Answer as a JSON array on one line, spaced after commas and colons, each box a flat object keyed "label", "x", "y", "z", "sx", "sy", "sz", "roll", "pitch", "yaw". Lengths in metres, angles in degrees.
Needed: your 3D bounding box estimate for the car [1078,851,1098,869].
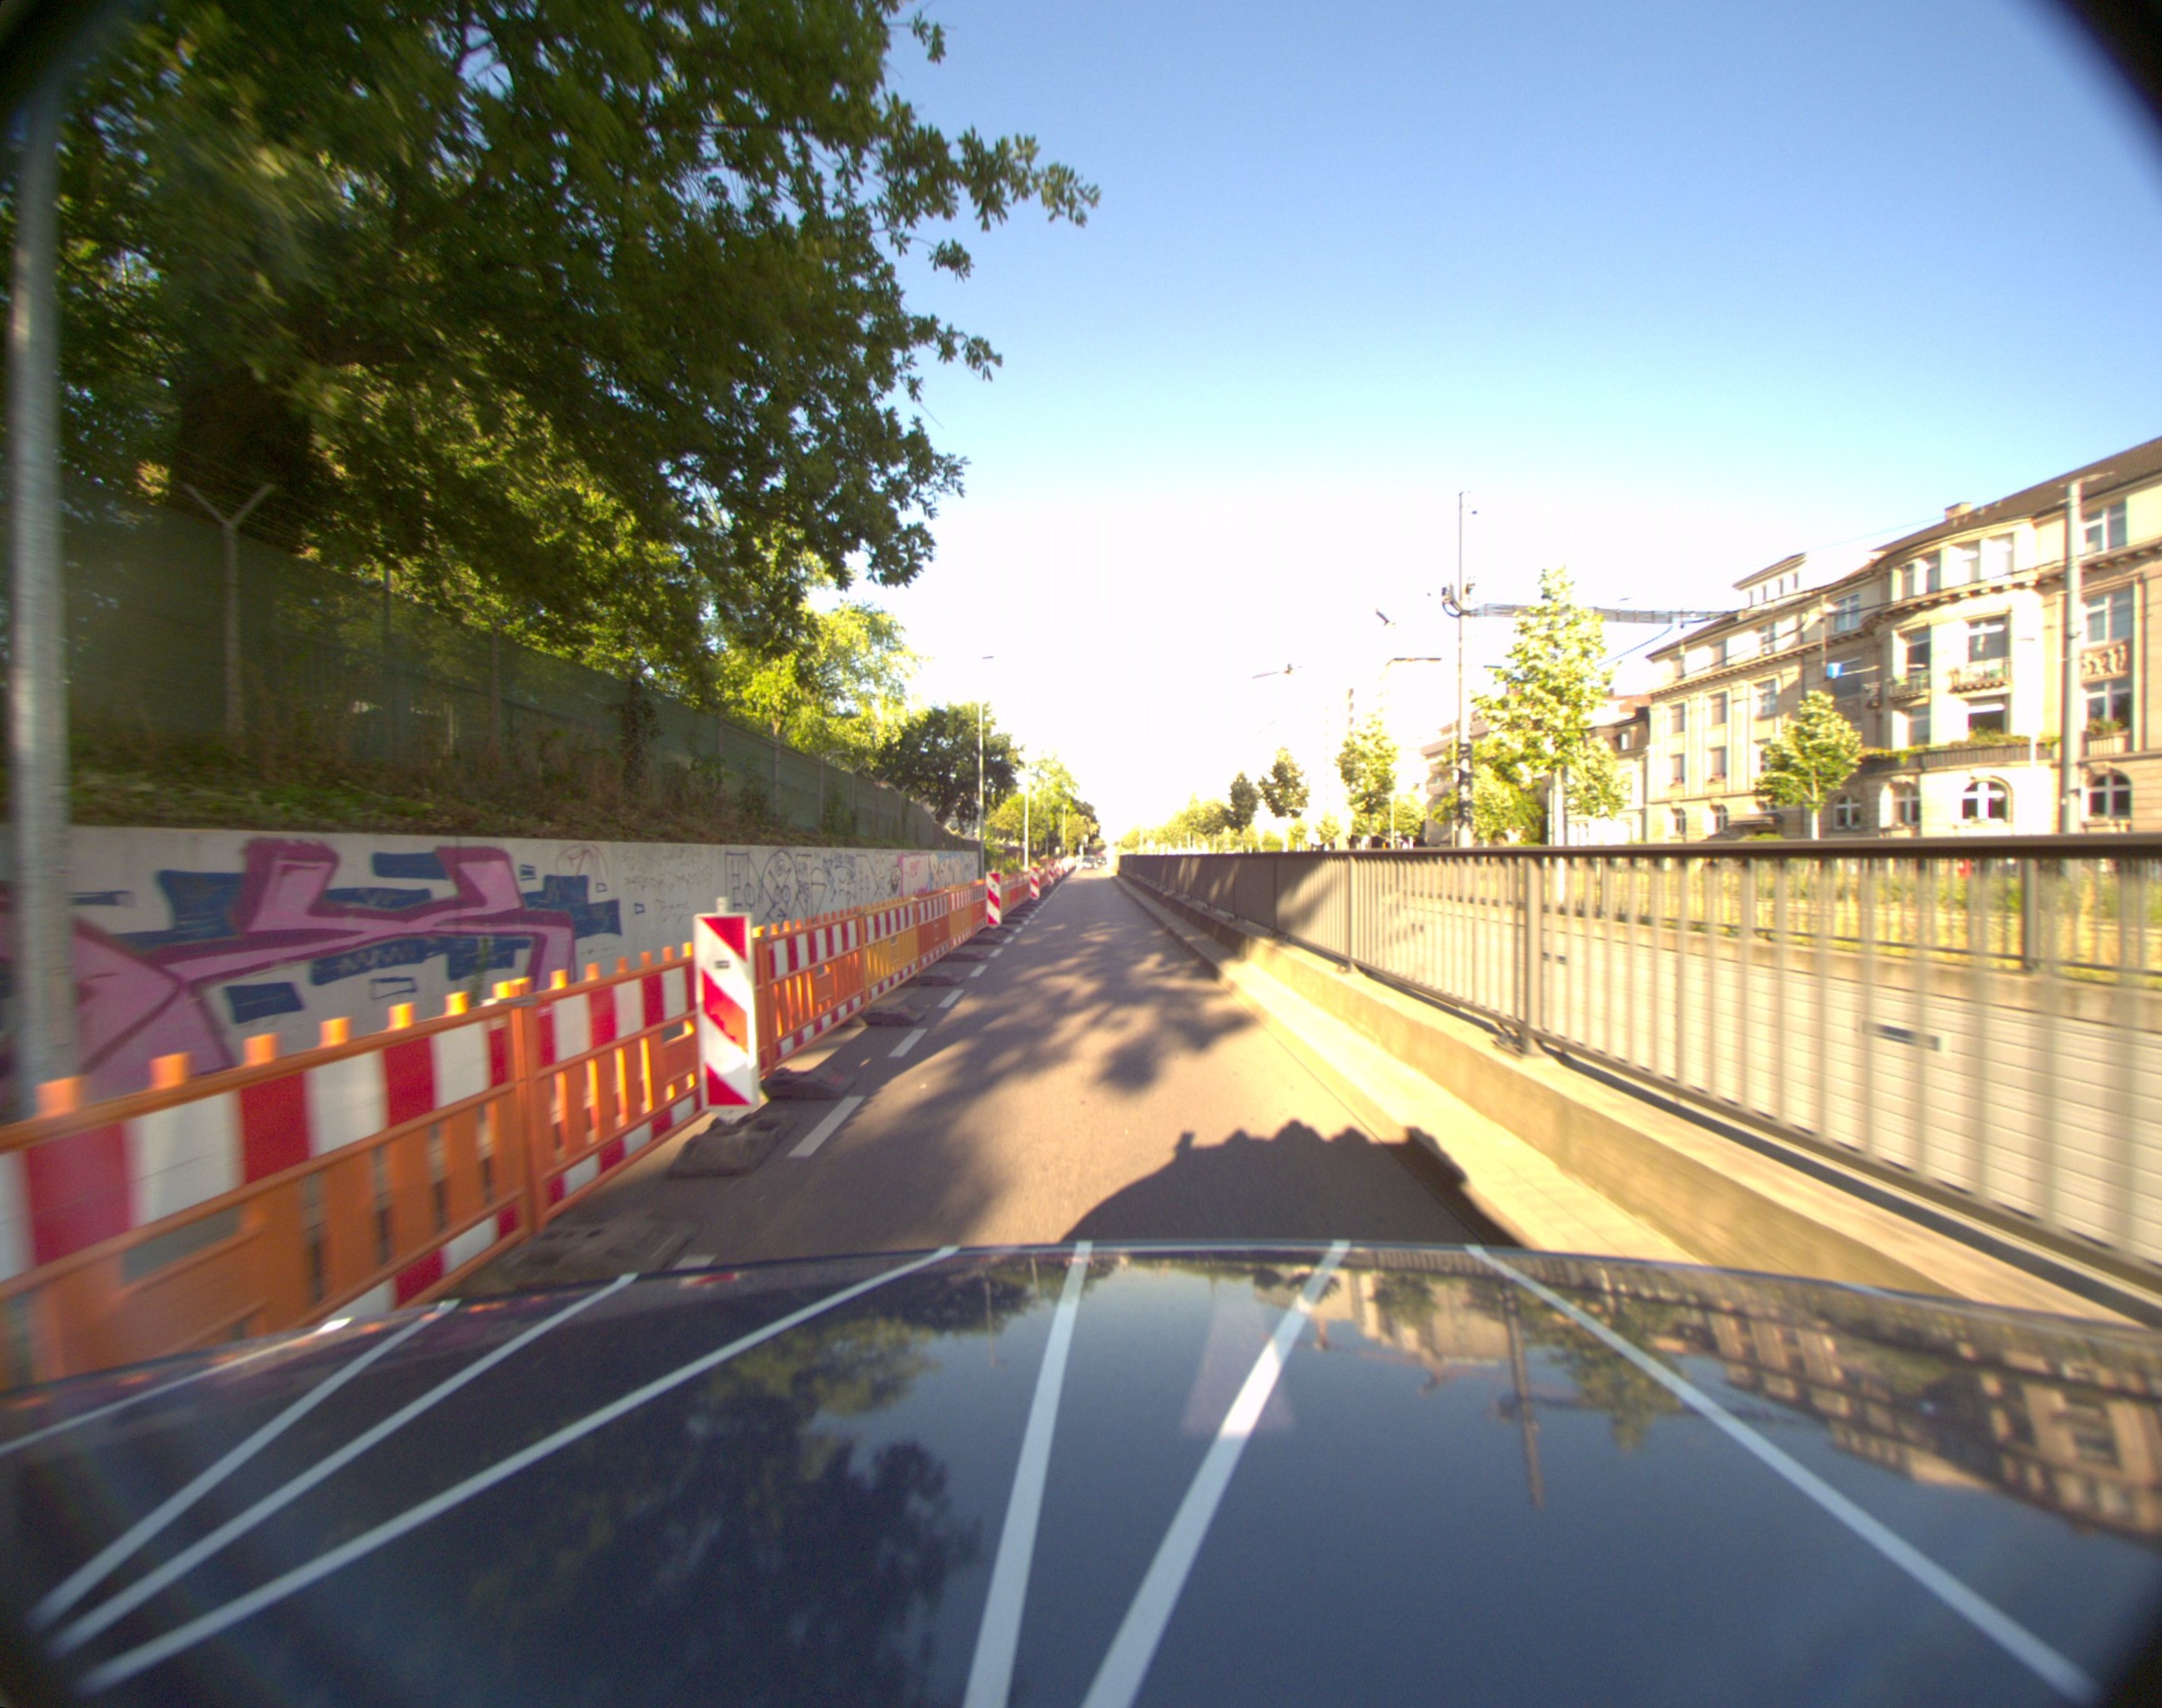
[{"label": "car", "x": 0.765, "y": 0.642, "z": 80.388, "sx": 2.080, "sy": 1.827, "sz": 4.000, "roll": 0, "pitch": 0, "yaw": 1}]
